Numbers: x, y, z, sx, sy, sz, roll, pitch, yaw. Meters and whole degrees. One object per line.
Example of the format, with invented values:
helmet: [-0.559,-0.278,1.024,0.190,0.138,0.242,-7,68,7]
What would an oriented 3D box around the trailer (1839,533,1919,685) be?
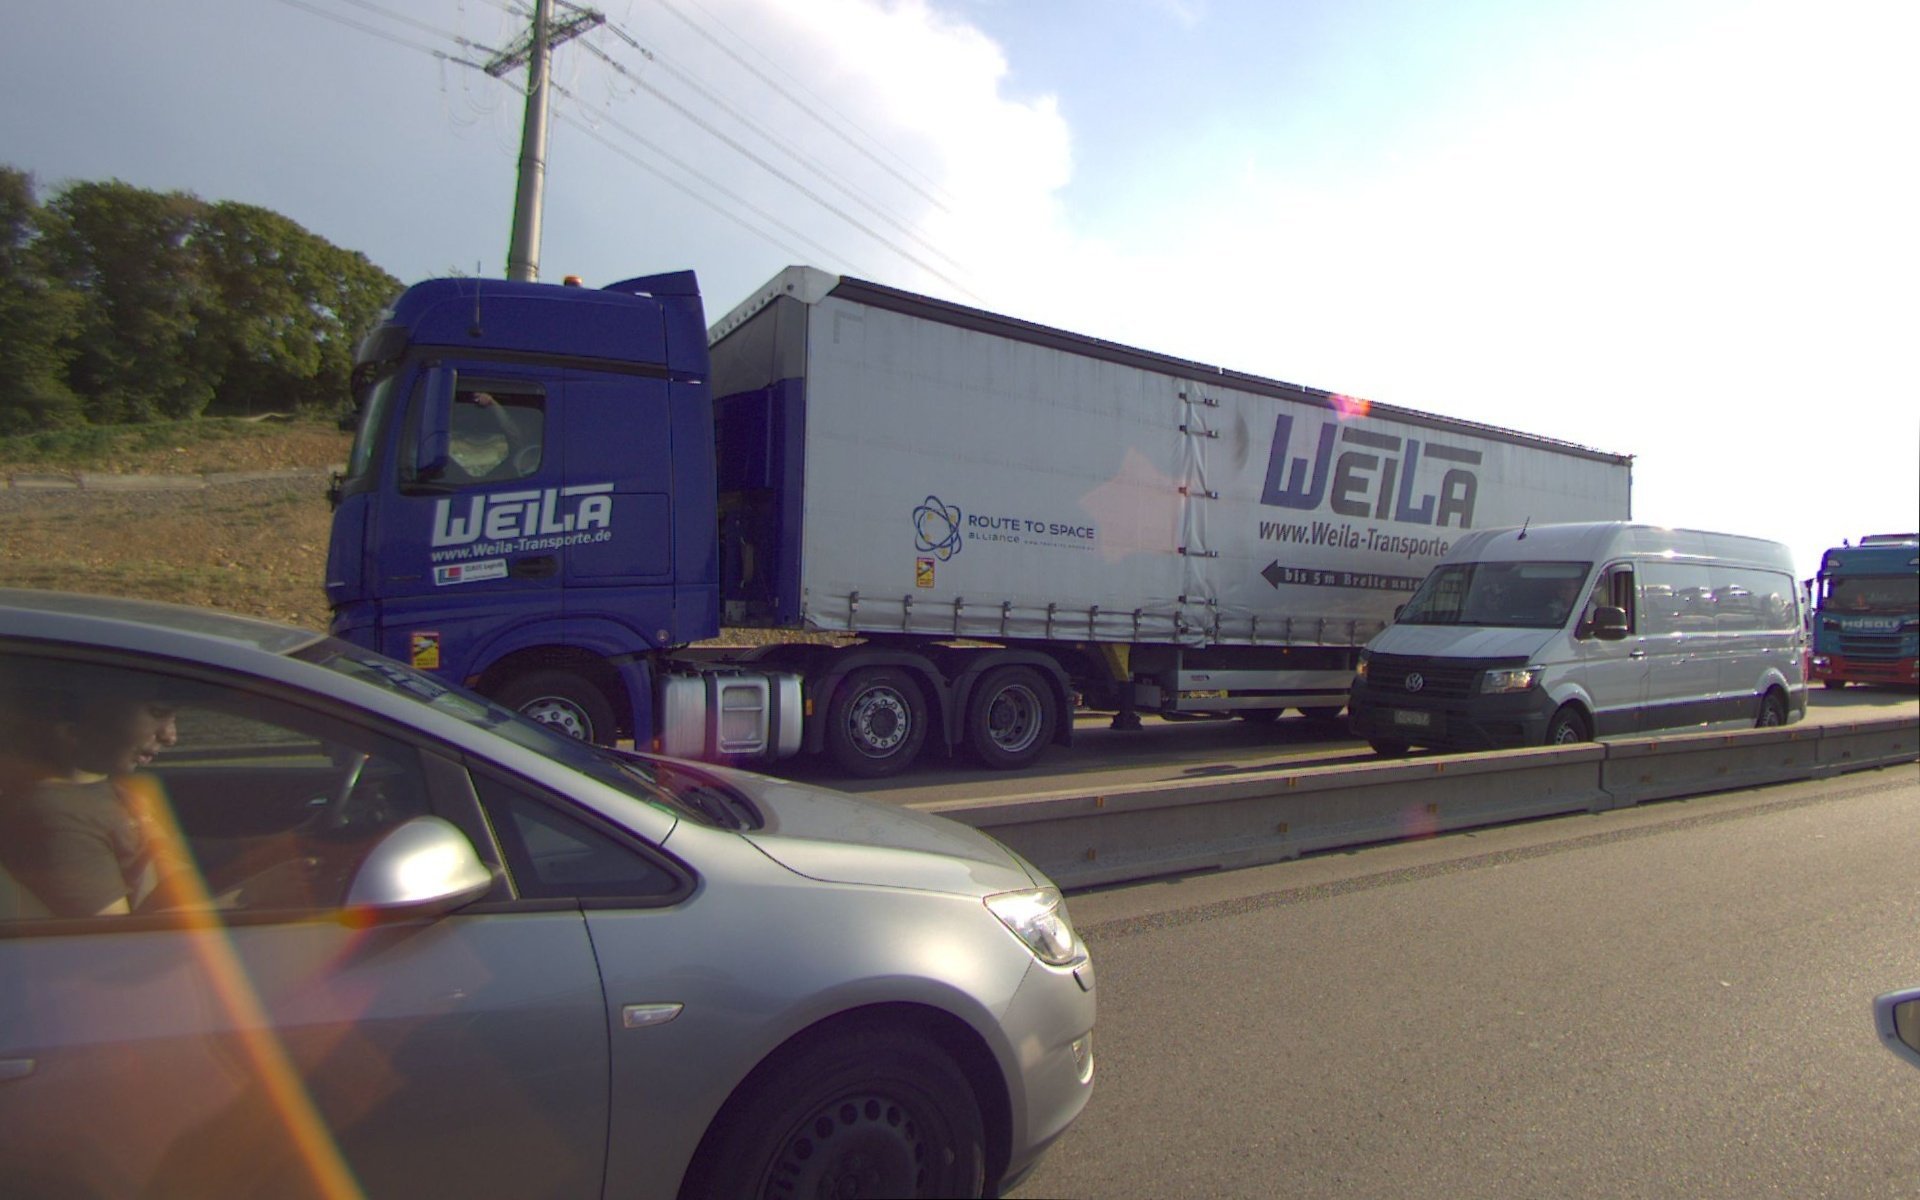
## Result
trailer: [30.856,0.433,30.294,15.230,3.924,2.678,2,-1,-34]

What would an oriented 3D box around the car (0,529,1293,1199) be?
car: [-1.490,0.662,2.113,4.301,1.492,1.747,2,-1,-30]

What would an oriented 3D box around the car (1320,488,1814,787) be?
car: [7.039,0.408,11.238,6.704,2.533,2.045,2,-1,-33]

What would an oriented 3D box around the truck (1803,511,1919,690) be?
truck: [24.046,0.096,25.506,5.822,4.119,2.488,2,-1,-33]

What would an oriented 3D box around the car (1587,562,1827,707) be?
car: [15.251,0.694,20.398,5.529,2.591,2.145,2,-1,-33]

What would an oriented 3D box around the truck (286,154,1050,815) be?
truck: [-2.269,-0.644,8.705,5.595,4.119,2.493,2,-1,-29]

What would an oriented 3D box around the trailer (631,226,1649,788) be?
trailer: [3.657,-0.497,12.302,14.439,4.185,2.294,2,-1,-32]
